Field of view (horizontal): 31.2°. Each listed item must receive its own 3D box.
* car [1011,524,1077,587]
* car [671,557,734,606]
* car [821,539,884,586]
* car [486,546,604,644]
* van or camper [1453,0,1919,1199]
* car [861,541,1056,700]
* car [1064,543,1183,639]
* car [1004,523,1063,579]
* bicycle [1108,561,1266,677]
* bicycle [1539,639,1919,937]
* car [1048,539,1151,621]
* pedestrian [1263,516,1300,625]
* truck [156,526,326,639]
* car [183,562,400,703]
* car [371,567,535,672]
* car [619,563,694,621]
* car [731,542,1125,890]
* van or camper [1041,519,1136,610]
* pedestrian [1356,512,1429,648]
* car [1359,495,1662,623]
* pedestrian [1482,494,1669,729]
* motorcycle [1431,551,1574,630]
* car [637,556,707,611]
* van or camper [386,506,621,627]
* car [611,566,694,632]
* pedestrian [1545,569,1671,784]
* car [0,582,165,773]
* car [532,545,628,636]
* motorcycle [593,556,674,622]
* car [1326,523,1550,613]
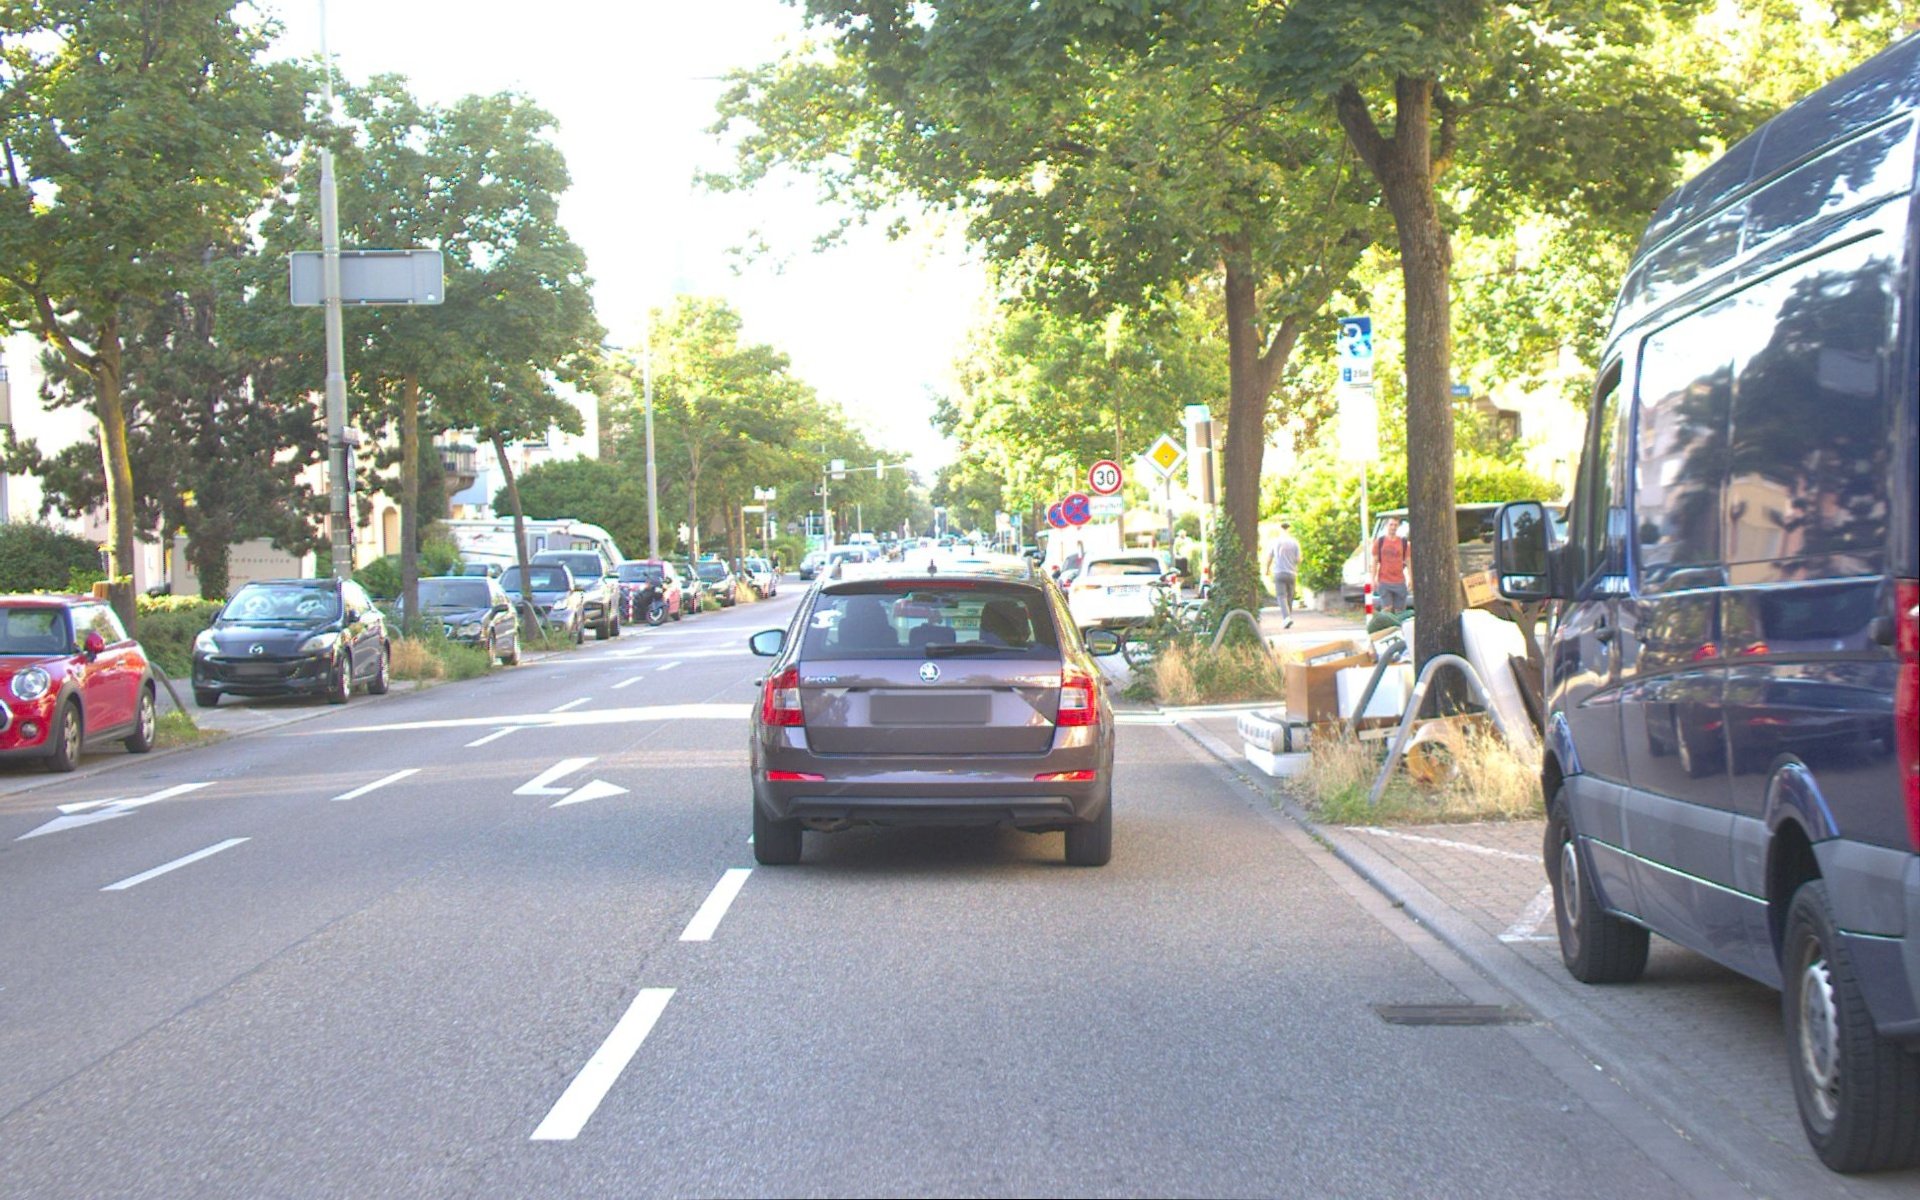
[{"bbox_3d":[2.497,-1.351,102.789,1.729,1.809,3.951,-2,1,-1],"label":"car"},{"bbox_3d":[-8.012,-0.586,107.122,1.664,1.427,3.275,-2,1,0],"label":"car"},{"bbox_3d":[-4.272,-1.526,137.477,1.877,1.751,4.178,-1,1,6],"label":"car"},{"bbox_3d":[-7.864,-0.112,65.441,1.750,1.734,3.591,-2,1,0],"label":"car"},{"bbox_3d":[2.916,-0.006,9.937,2.068,2.666,5.990,-2,0,0],"label":"van or camper"},{"bbox_3d":[-0.071,0.163,35.668,1.729,1.488,3.951,-2,1,-4],"label":"car"},{"bbox_3d":[2.614,-0.176,55.599,1.821,1.408,4.111,-2,1,2],"label":"car"},{"bbox_3d":[2.451,-1.656,115.280,1.729,1.809,3.951,-2,1,-1],"label":"car"},{"bbox_3d":[2.630,0.220,39.842,1.671,1.222,0.635,-4,1,13],"label":"bicycle"},{"bbox_3d":[3.128,0.718,13.269,1.702,1.085,0.404,-2,1,3],"label":"bicycle"},{"bbox_3d":[2.594,-0.397,64.083,1.821,1.408,4.111,-2,1,2],"label":"car"},{"bbox_3d":[5.374,-0.498,57.547,0.535,1.788,0.687,-2,1,2],"label":"pedestrian"},{"bbox_3d":[-13.997,-0.355,67.020,2.913,2.086,1.546,-2,1,0],"label":"truck"},{"bbox_3d":[-7.926,0.344,41.100,1.717,1.492,4.248,-2,1,0],"label":"car"},{"bbox_3d":[-7.705,0.262,52.612,1.754,1.415,4.425,-2,1,1],"label":"car"},{"bbox_3d":[-8.031,-0.218,91.268,1.664,1.427,3.275,-2,1,0],"label":"car"},{"bbox_3d":[-0.108,0.489,17.416,1.729,1.488,3.951,-2,1,1],"label":"car"},{"bbox_3d":[2.951,-0.844,79.491,1.993,2.007,4.000,-2,1,0],"label":"van or camper"},{"bbox_3d":[5.795,-0.273,46.087,0.756,1.790,0.906,-2,1,-5],"label":"pedestrian"},{"bbox_3d":[8.899,-0.678,55.490,4.532,1.886,1.915,-2,1,-27],"label":"car"},{"bbox_3d":[3.988,0.067,22.280,1.061,1.471,0.479,-2,1,-19],"label":"pedestrian"},{"bbox_3d":[8.188,-0.145,51.923,2.051,1.121,0.525,-2,1,-5],"label":"motorcycle"},{"bbox_3d":[-8.010,-0.480,95.808,1.664,1.427,3.275,-2,1,0],"label":"car"},{"bbox_3d":[-15.486,-1.166,116.858,7.639,3.861,2.000,-2,1,-1],"label":"van or camper"},{"bbox_3d":[-7.624,-0.044,85.579,1.664,1.506,4.179,-2,1,0],"label":"car"},{"bbox_3d":[3.912,0.455,20.737,0.653,1.250,0.657,-1,1,17],"label":"pedestrian"},{"bbox_3d":[-7.990,0.614,28.843,1.717,1.416,3.787,-2,1,0],"label":"car"},{"bbox_3d":[-7.738,-0.216,70.274,1.507,1.751,3.694,-2,1,0],"label":"car"},{"bbox_3d":[-7.655,-0.249,80.532,0.764,1.506,2.029,-3,2,-42],"label":"motorcycle"},{"bbox_3d":[8.837,-0.603,63.564,3.799,1.520,1.512,-2,1,-21],"label":"car"}]
